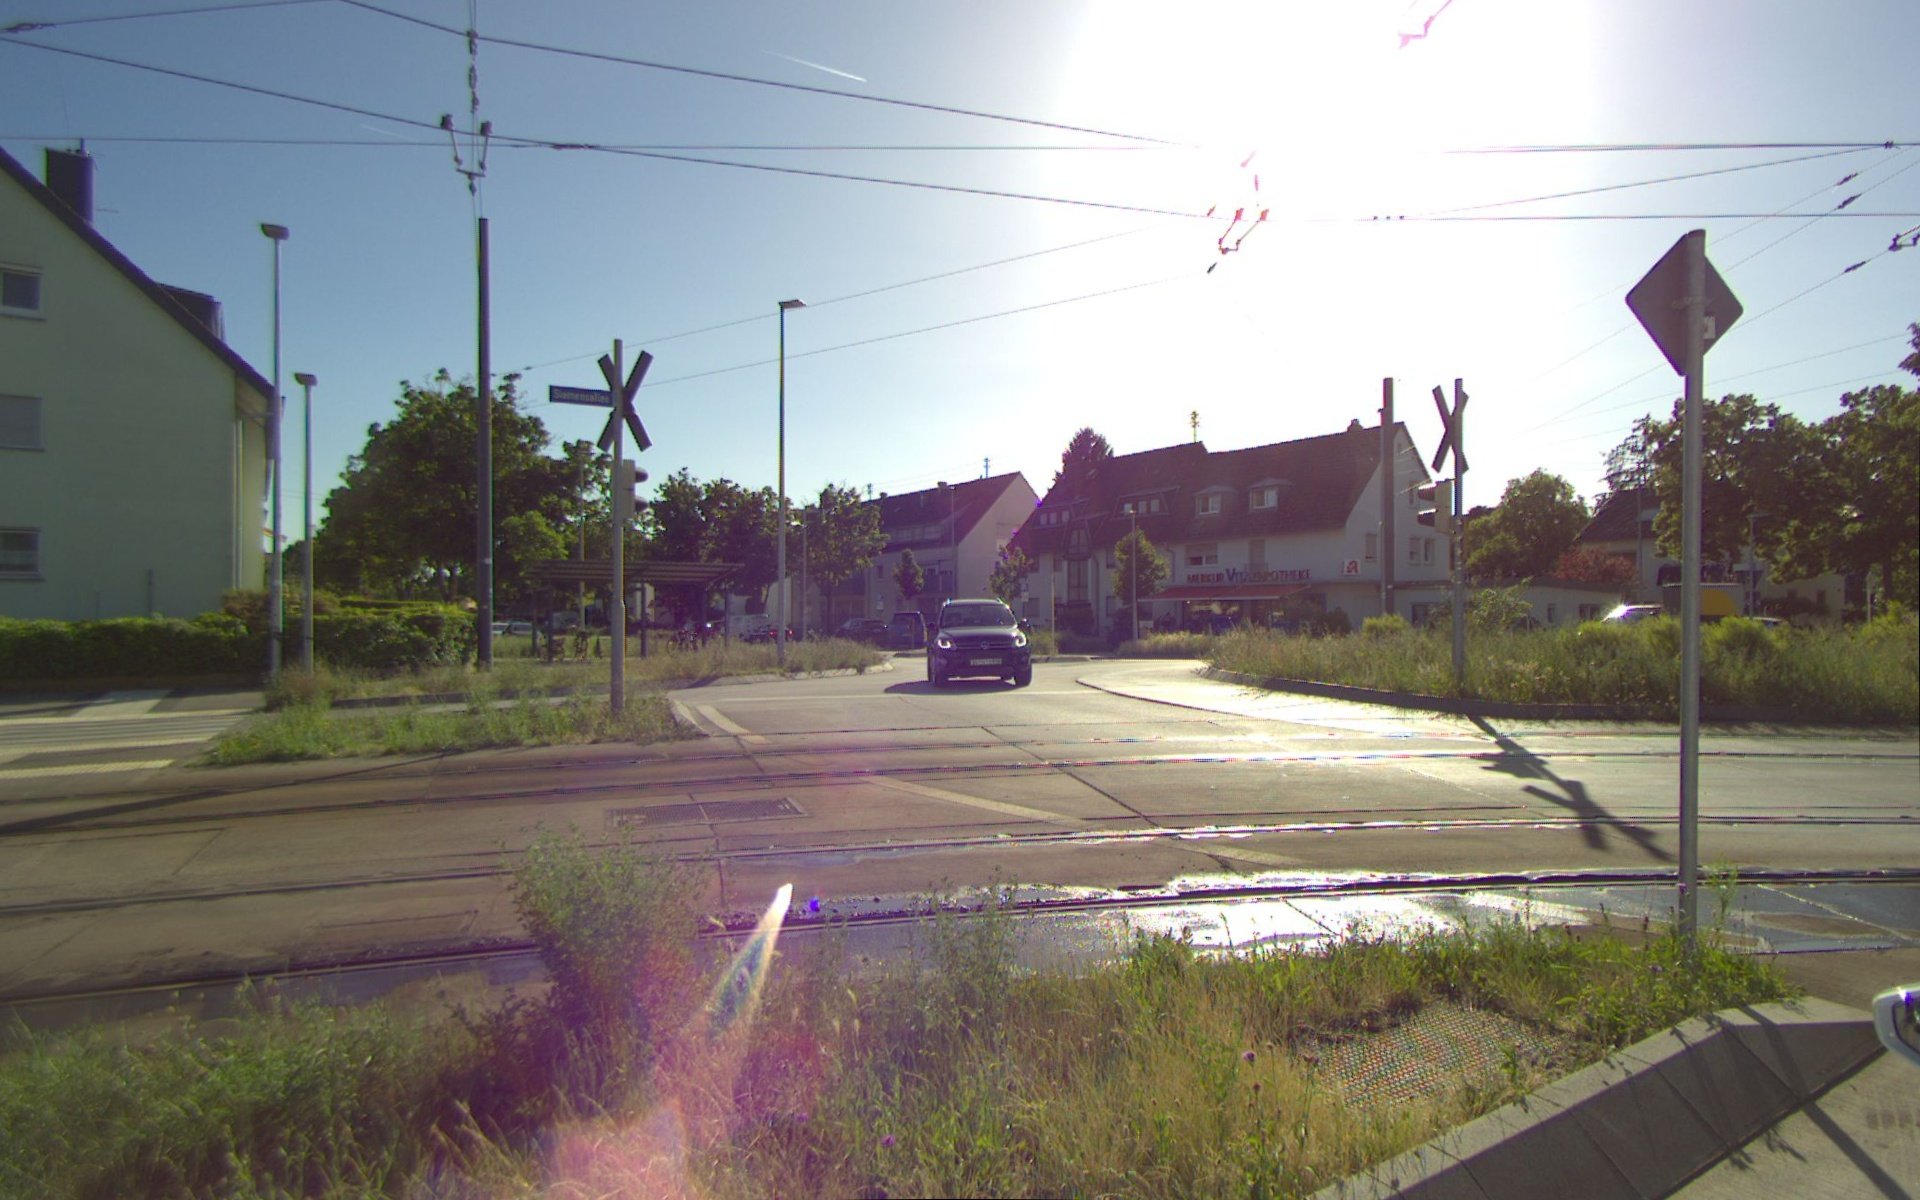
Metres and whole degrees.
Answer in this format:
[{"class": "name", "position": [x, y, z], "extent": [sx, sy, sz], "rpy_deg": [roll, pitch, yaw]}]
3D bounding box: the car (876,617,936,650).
[{"class": "car", "position": [-2.834, 1.737, 52.245], "extent": [3.020, 1.641, 1.409], "rpy_deg": [1, 1, -6]}]

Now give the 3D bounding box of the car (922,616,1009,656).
[{"class": "car", "position": [0.203, 1.676, 47.983], "extent": [1.981, 1.721, 4.327], "rpy_deg": [1, 1, -36]}]

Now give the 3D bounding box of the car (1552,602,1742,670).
[{"class": "car", "position": [21.795, 1.169, 31.938], "extent": [5.146, 2.007, 1.996], "rpy_deg": [2, -2, -11]}]

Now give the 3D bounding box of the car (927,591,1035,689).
[{"class": "car", "position": [0.525, 0.742, 19.784], "extent": [1.781, 1.693, 4.260], "rpy_deg": [-1, -1, 6]}]

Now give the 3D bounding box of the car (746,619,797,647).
[{"class": "car", "position": [-12.374, 2.144, 65.631], "extent": [1.903, 1.637, 4.247], "rpy_deg": [1, 1, -31]}]

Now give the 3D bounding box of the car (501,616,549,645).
[{"class": "car", "position": [-24.571, 1.693, 56.700], "extent": [1.808, 1.411, 3.753], "rpy_deg": [1, 1, -35]}]

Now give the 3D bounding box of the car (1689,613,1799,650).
[{"class": "car", "position": [40.592, 1.606, 52.111], "extent": [1.974, 1.717, 4.023], "rpy_deg": [1, 0, -26]}]

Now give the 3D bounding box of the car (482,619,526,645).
[{"class": "car", "position": [-28.178, 1.951, 61.990], "extent": [1.808, 1.411, 3.831], "rpy_deg": [1, 1, -35]}]

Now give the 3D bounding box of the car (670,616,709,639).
[{"class": "car", "position": [-21.408, 2.156, 79.446], "extent": [1.537, 1.699, 4.177], "rpy_deg": [1, -1, -36]}]

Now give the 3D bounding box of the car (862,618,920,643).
[{"class": "car", "position": [-3.892, 1.719, 56.532], "extent": [3.106, 1.315, 1.380], "rpy_deg": [1, 1, -11]}]

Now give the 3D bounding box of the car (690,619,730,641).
[{"class": "car", "position": [-18.920, 2.220, 75.999], "extent": [1.531, 1.613, 4.035], "rpy_deg": [0, -1, -36]}]

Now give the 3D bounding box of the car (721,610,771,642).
[{"class": "car", "position": [-15.211, 1.814, 71.272], "extent": [1.879, 2.041, 4.326], "rpy_deg": [1, 1, -36]}]
